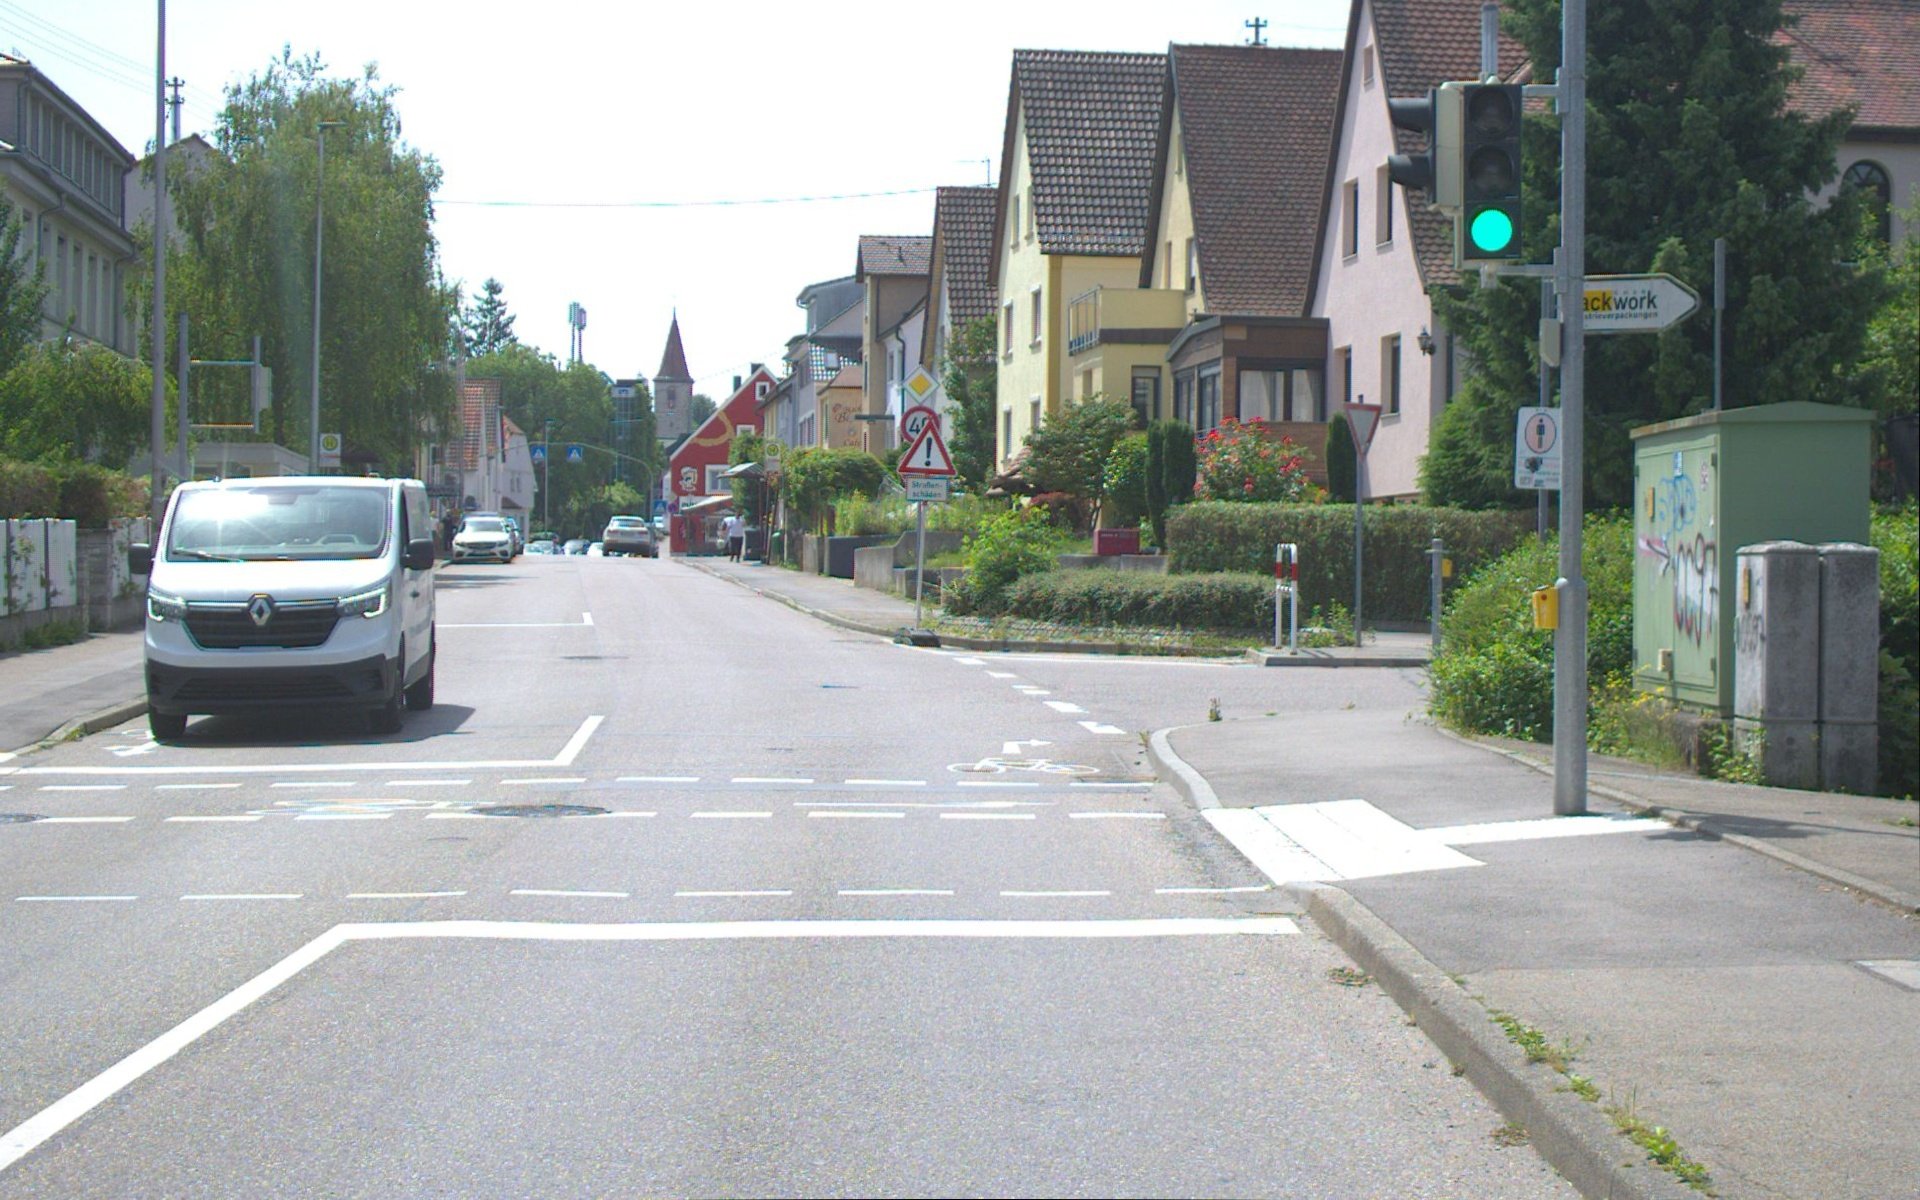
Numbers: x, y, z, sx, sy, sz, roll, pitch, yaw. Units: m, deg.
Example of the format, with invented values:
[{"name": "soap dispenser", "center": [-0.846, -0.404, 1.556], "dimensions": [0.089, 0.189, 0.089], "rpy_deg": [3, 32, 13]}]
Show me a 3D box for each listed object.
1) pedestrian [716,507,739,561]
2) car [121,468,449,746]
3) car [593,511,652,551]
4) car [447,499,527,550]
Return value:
[{"name": "pedestrian", "center": [-7.555, -2.145, 111.715], "dimensions": [0.646, 1.723, 0.609], "rpy_deg": [-2, 2, -6]}, {"name": "car", "center": [-5.203, -0.013, 27.103], "dimensions": [1.879, 1.958, 4.904], "rpy_deg": [-1, 1, -4]}, {"name": "car", "center": [-13.328, -2.736, 135.599], "dimensions": [1.993, 1.555, 4.315], "rpy_deg": [0, 1, -10]}, {"name": "car", "center": [-15.023, -2.405, 109.364], "dimensions": [2.110, 1.555, 4.314], "rpy_deg": [0, 2, -2]}]
